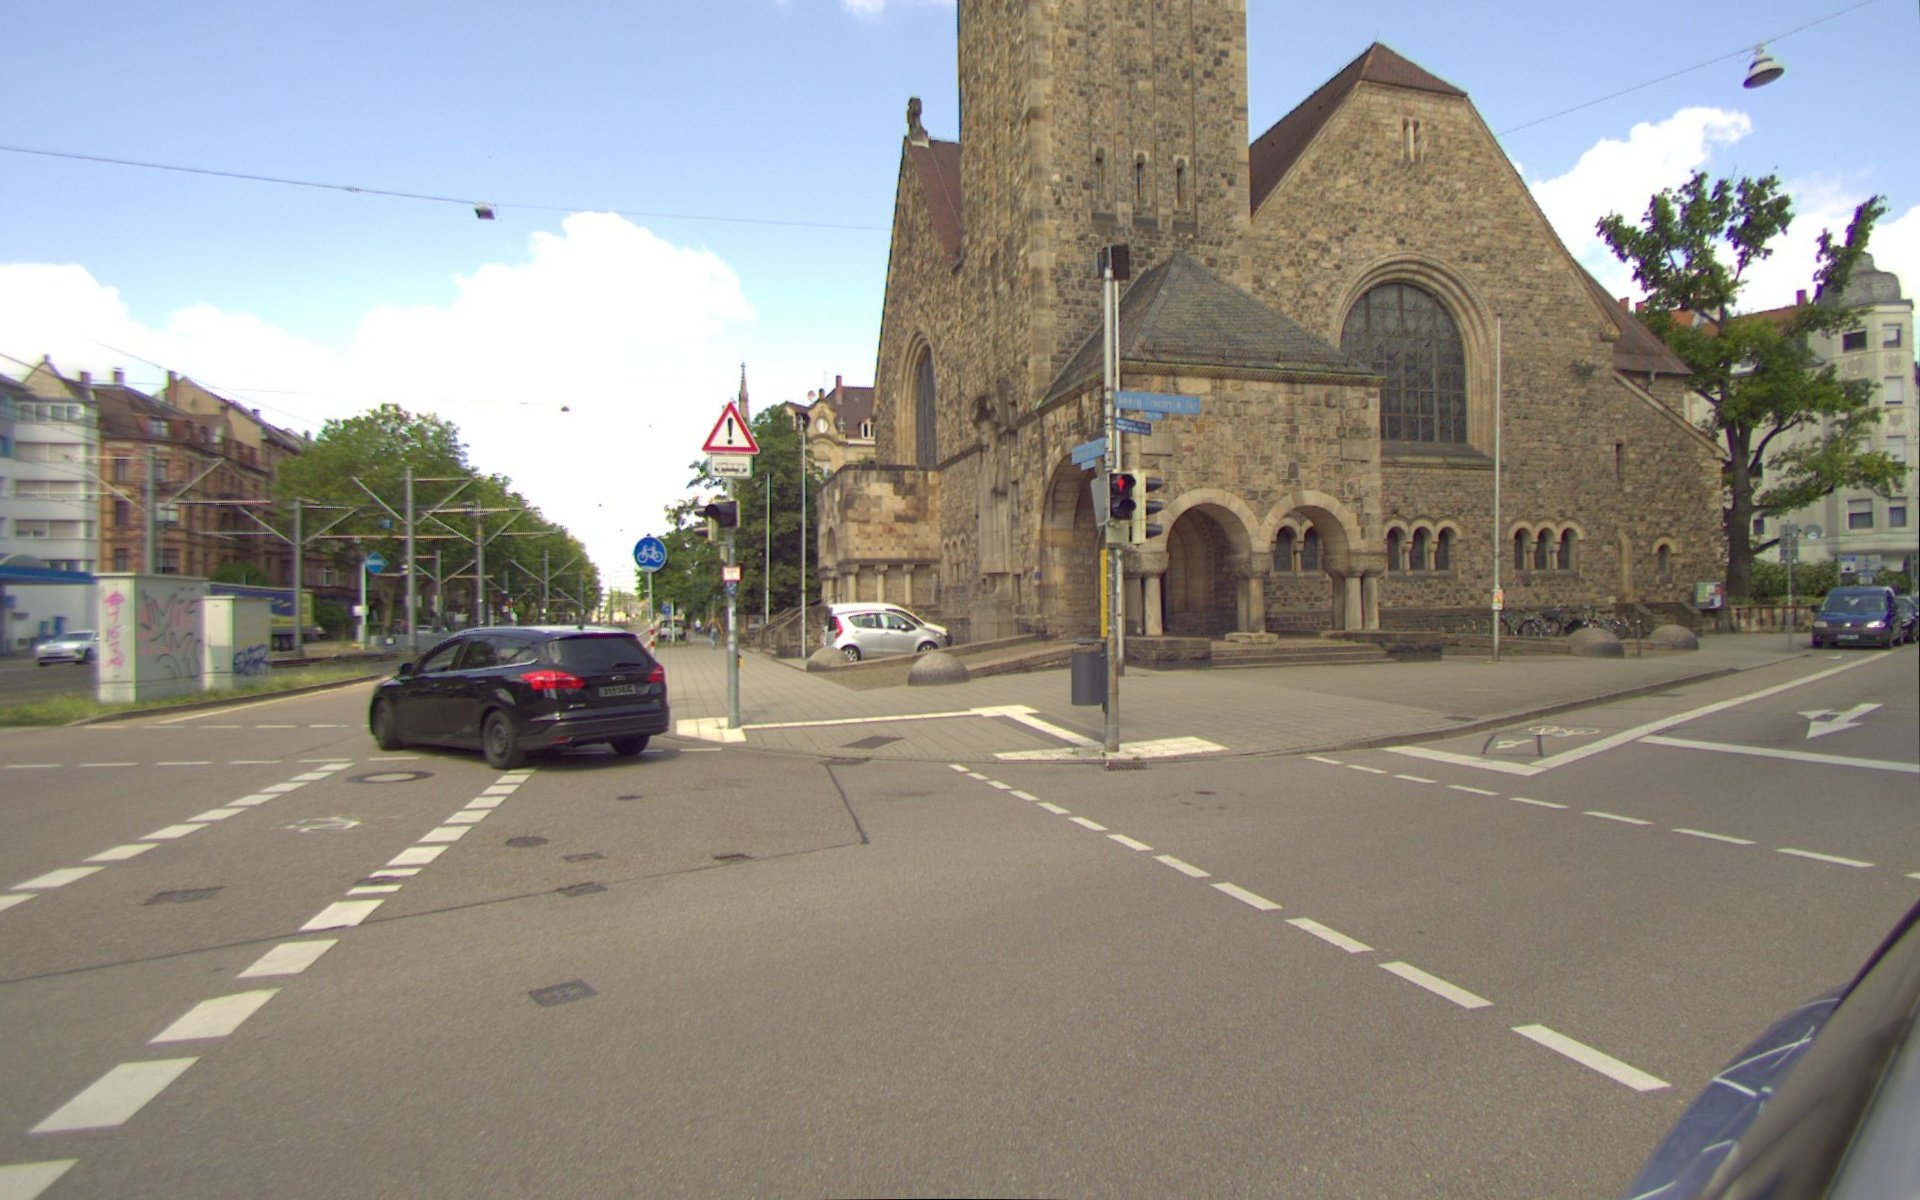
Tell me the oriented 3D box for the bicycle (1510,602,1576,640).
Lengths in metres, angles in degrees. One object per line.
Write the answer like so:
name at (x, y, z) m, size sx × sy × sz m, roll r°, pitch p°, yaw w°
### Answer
bicycle at (18.967, 0.662, 32.985) m, size 0.574 × 1.126 × 1.944 m, roll -1°, pitch 2°, yaw -19°

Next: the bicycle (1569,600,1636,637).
bicycle at (21.364, 0.602, 33.689) m, size 0.574 × 1.126 × 1.944 m, roll -1°, pitch 2°, yaw -19°

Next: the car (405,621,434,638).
car at (-55.002, 2.964, 103.054) m, size 1.766 × 1.651 × 4.007 m, roll -1°, pitch 0°, yaw -15°

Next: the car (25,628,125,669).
car at (-40.796, 2.180, 46.768) m, size 1.816 × 1.727 × 4.142 m, roll -1°, pitch -1°, yaw -15°

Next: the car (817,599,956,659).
car at (-2.440, 0.947, 33.099) m, size 4.214 × 1.878 × 2.003 m, roll 0°, pitch -3°, yaw -16°

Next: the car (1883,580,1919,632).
car at (35.276, 0.201, 37.012) m, size 3.929 × 1.814 × 1.681 m, roll 0°, pitch -1°, yaw -40°

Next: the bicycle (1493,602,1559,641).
bicycle at (18.299, 0.678, 32.769) m, size 0.574 × 1.126 × 1.944 m, roll -1°, pitch 2°, yaw -19°

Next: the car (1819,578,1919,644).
car at (26.869, 0.308, 29.819) m, size 4.072 × 1.814 × 1.681 m, roll 0°, pitch -1°, yaw -40°

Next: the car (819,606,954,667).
car at (-2.167, 1.068, 29.559) m, size 3.561 × 1.701 × 1.822 m, roll 1°, pitch -3°, yaw -19°

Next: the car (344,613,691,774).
car at (-5.254, 0.937, 11.795) m, size 4.359 × 1.554 × 1.761 m, roll -1°, pitch -2°, yaw 36°

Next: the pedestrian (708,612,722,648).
pedestrian at (-11.735, 1.447, 48.532) m, size 0.645 × 1.686 × 0.847 m, roll -1°, pitch -1°, yaw -14°

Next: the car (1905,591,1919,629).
car at (38.940, 0.354, 40.132) m, size 3.730 × 1.465 × 1.681 m, roll 0°, pitch -1°, yaw -40°

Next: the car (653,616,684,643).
car at (-17.624, 1.768, 61.242) m, size 1.752 × 1.514 × 3.844 m, roll -2°, pitch -1°, yaw -16°

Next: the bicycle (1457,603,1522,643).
bicycle at (16.848, 0.714, 32.242) m, size 0.574 × 1.126 × 1.944 m, roll -1°, pitch 2°, yaw -19°

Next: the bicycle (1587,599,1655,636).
bicycle at (22.122, 0.583, 33.902) m, size 0.574 × 1.126 × 1.944 m, roll -1°, pitch 2°, yaw -19°

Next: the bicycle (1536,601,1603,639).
bicycle at (19.938, 0.637, 33.149) m, size 0.574 × 1.126 × 1.944 m, roll -1°, pitch 2°, yaw -19°

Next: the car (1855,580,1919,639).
car at (30.885, 0.291, 33.197) m, size 3.929 × 1.814 × 1.681 m, roll 0°, pitch -1°, yaw -40°

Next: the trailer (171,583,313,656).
trailer at (-44.619, 1.155, 63.493) m, size 2.857 × 4.129 × 11.671 m, roll -1°, pitch 0°, yaw -12°

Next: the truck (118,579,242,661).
truck at (-43.000, 1.079, 56.097) m, size 2.857 × 4.202 × 6.602 m, roll -1°, pitch 0°, yaw -12°
